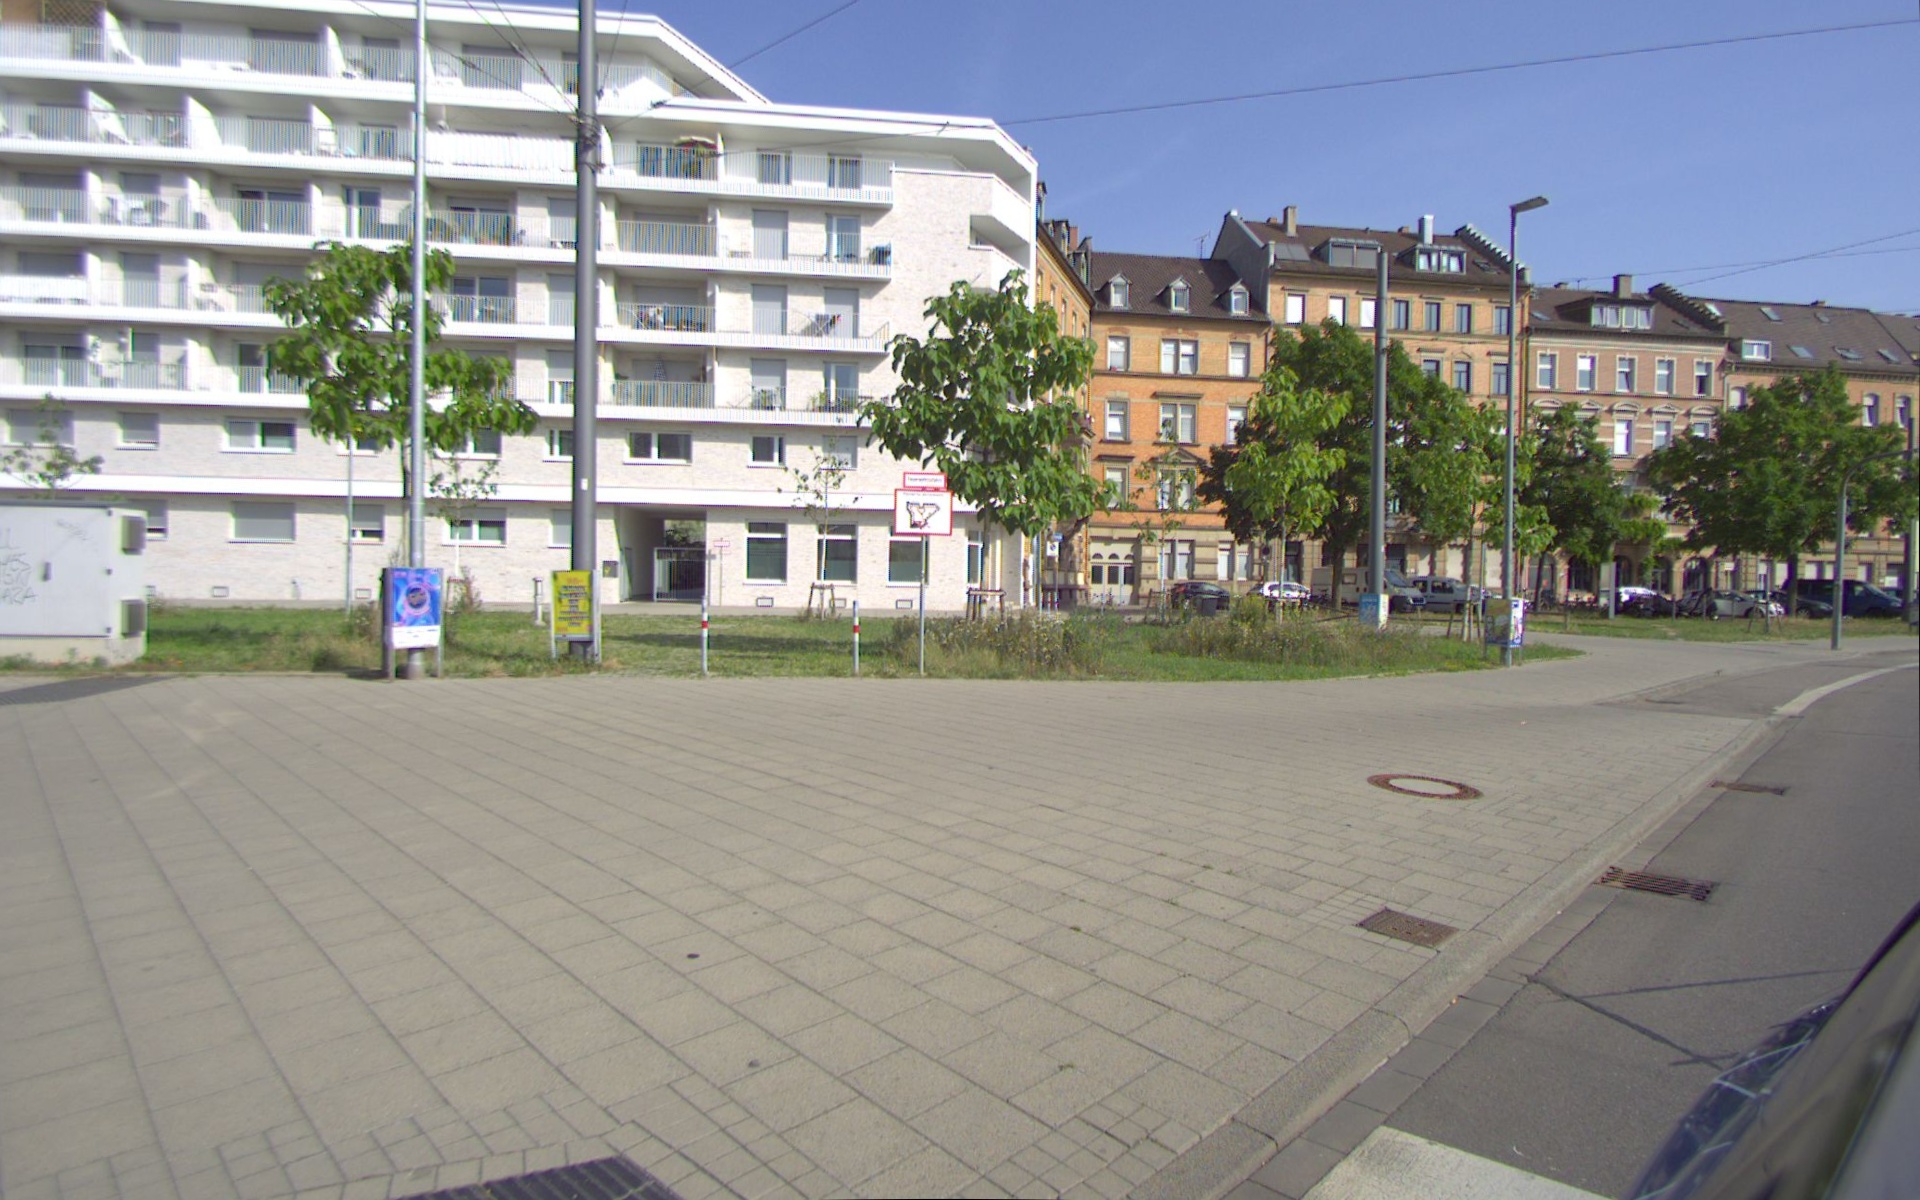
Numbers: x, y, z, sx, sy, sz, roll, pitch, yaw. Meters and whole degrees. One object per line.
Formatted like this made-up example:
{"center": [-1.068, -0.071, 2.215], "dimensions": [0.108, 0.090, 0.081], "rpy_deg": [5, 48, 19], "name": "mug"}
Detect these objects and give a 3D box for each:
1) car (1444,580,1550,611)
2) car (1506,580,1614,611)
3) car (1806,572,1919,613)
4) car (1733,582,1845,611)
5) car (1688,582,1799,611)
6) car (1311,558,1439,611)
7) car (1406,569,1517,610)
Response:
{"center": [24.067, -0.217, 45.437], "dimensions": [1.692, 1.265, 3.850], "rpy_deg": [0, 1, -41], "name": "car"}
{"center": [26.953, -0.232, 45.521], "dimensions": [1.692, 1.265, 3.850], "rpy_deg": [0, 1, -41], "name": "car"}
{"center": [42.343, -0.395, 47.458], "dimensions": [1.754, 1.828, 3.852], "rpy_deg": [0, 1, -39], "name": "car"}
{"center": [38.762, -0.191, 47.388], "dimensions": [1.692, 1.265, 3.850], "rpy_deg": [0, 1, -41], "name": "car"}
{"center": [36.383, -0.177, 47.058], "dimensions": [1.692, 1.265, 3.850], "rpy_deg": [0, 1, -41], "name": "car"}
{"center": [18.362, -0.721, 44.992], "dimensions": [1.844, 2.205, 5.048], "rpy_deg": [0, 1, -34], "name": "car"}
{"center": [22.039, -0.498, 44.570], "dimensions": [1.848, 1.727, 3.978], "rpy_deg": [0, 1, -41], "name": "car"}
